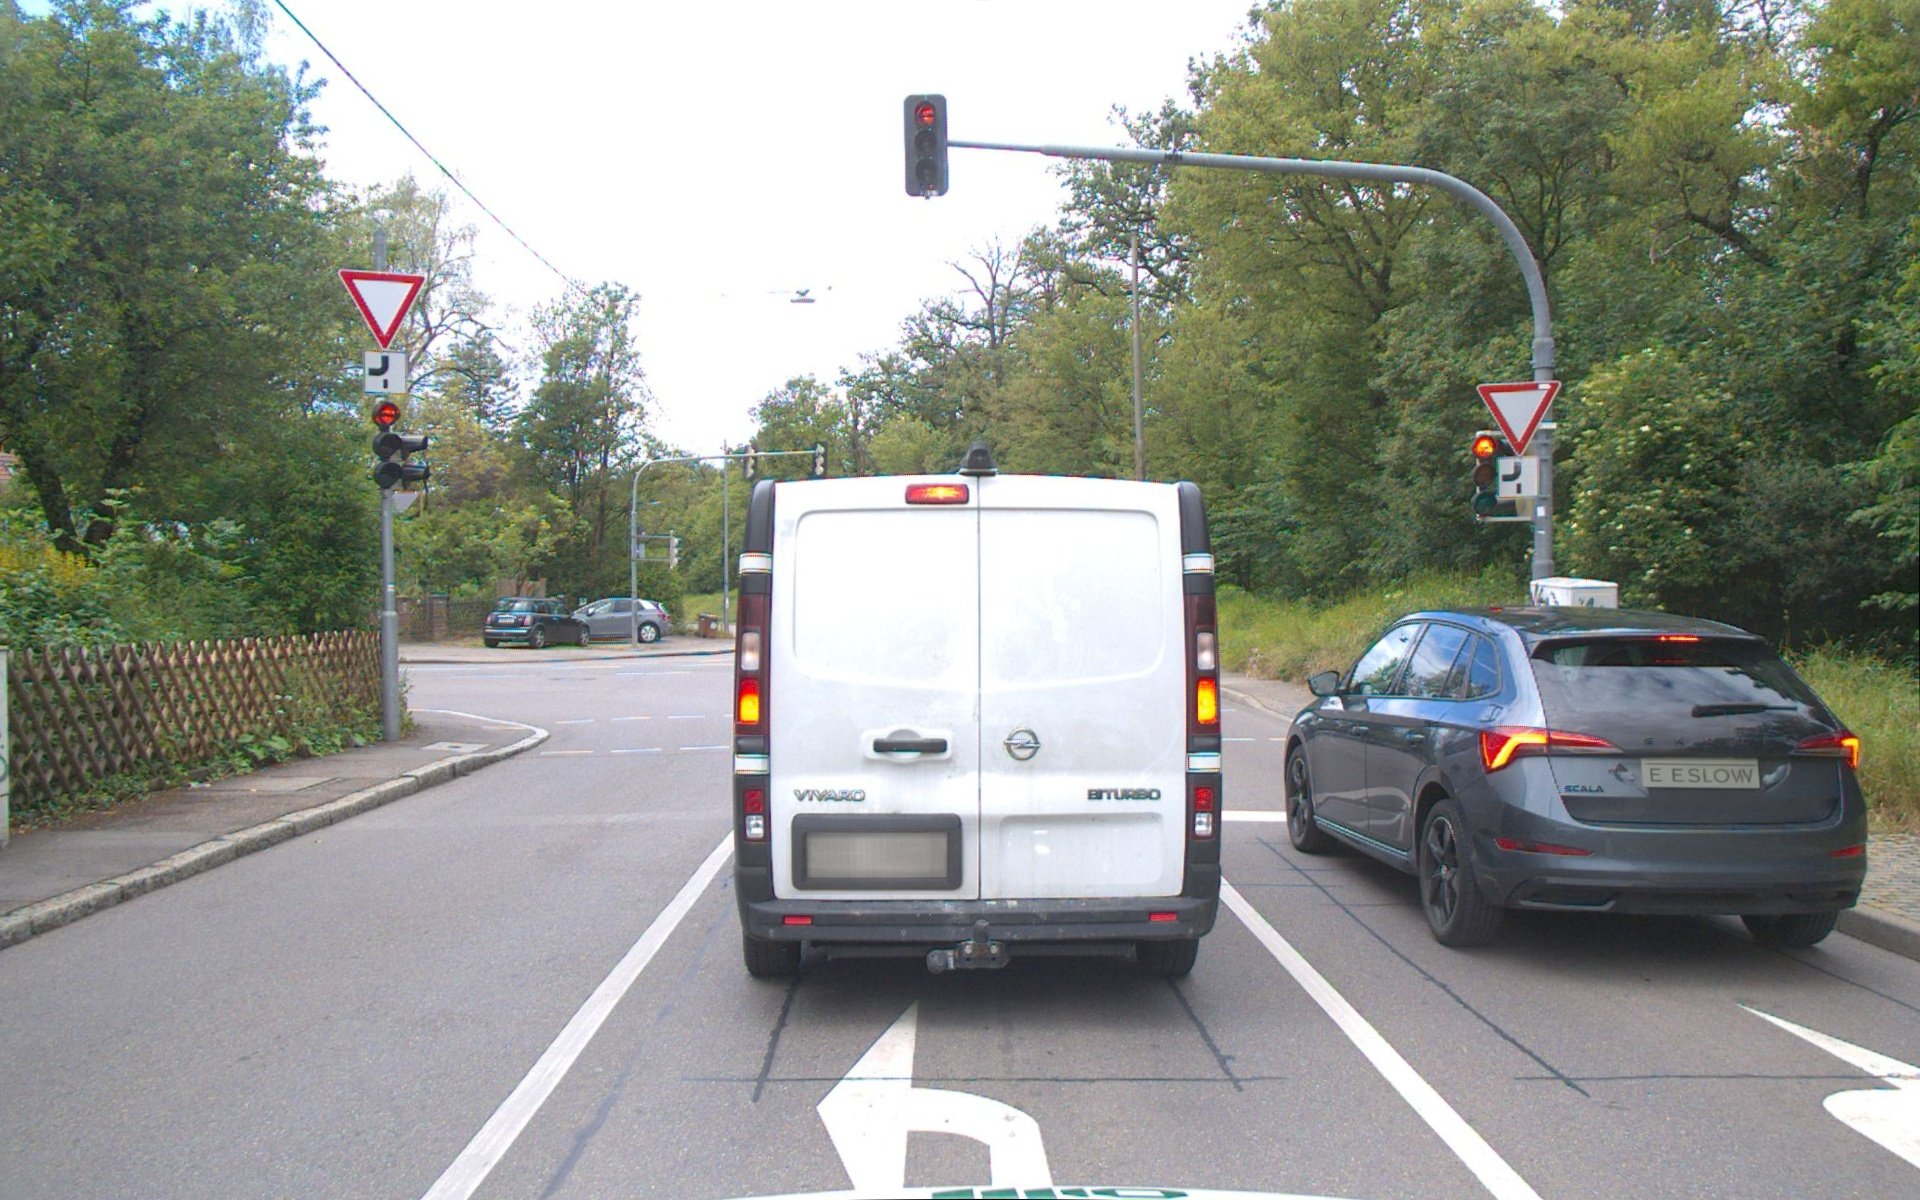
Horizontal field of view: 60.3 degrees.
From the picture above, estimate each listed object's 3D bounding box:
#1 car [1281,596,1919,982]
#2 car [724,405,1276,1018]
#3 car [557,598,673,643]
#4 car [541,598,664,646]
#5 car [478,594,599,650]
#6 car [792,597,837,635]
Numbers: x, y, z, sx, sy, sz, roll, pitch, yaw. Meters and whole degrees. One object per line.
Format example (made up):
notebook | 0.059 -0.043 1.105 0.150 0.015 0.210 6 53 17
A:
car | 2.957 0.723 8.415 1.756 1.476 3.998 0 0 -2
car | 0.034 0.385 8.041 1.878 2.089 4.611 1 0 -3
car | -12.692 0.725 60.760 4.022 1.580 1.845 0 1 -18
car | -12.407 0.750 57.345 4.022 1.580 1.845 0 1 -18
car | -11.977 0.617 47.204 1.662 1.474 3.544 2 0 19
car | -6.069 0.636 69.165 1.821 1.533 3.996 0 0 -5
